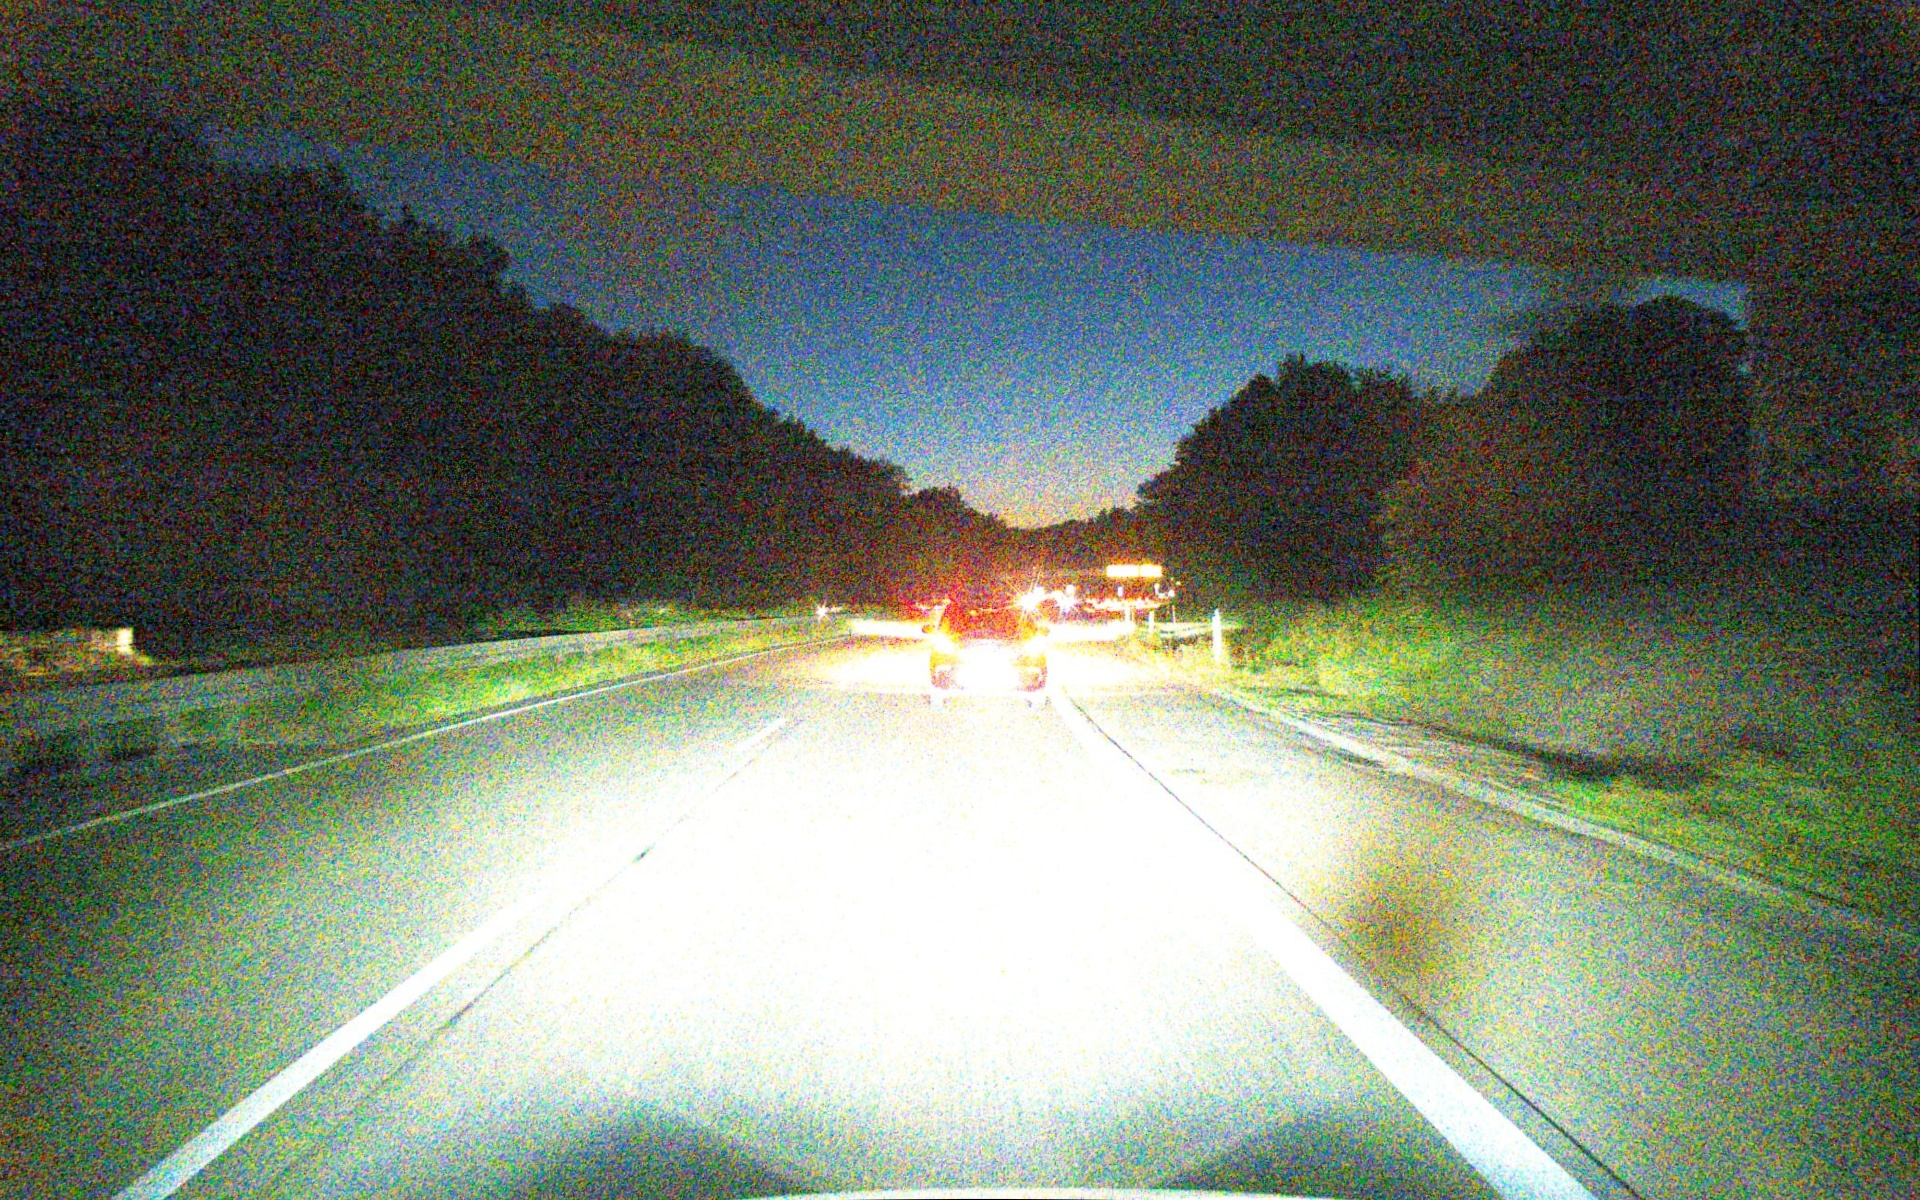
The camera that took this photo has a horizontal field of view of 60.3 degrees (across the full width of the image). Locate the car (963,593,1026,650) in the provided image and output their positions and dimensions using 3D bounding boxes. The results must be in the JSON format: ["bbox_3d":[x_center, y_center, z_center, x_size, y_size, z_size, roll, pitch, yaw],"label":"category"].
[{"bbox_3d":[1.147,0.660,53.194,1.866,1.728,4.002,0,0,4],"label":"car"}]

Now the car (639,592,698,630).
[{"bbox_3d":[-13.110,0.490,74.611,1.953,1.686,4.533,0,0,-1],"label":"car"}]

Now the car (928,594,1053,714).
[{"bbox_3d":[0.358,0.697,23.642,1.556,1.534,3.999,1,0,-2],"label":"car"}]
